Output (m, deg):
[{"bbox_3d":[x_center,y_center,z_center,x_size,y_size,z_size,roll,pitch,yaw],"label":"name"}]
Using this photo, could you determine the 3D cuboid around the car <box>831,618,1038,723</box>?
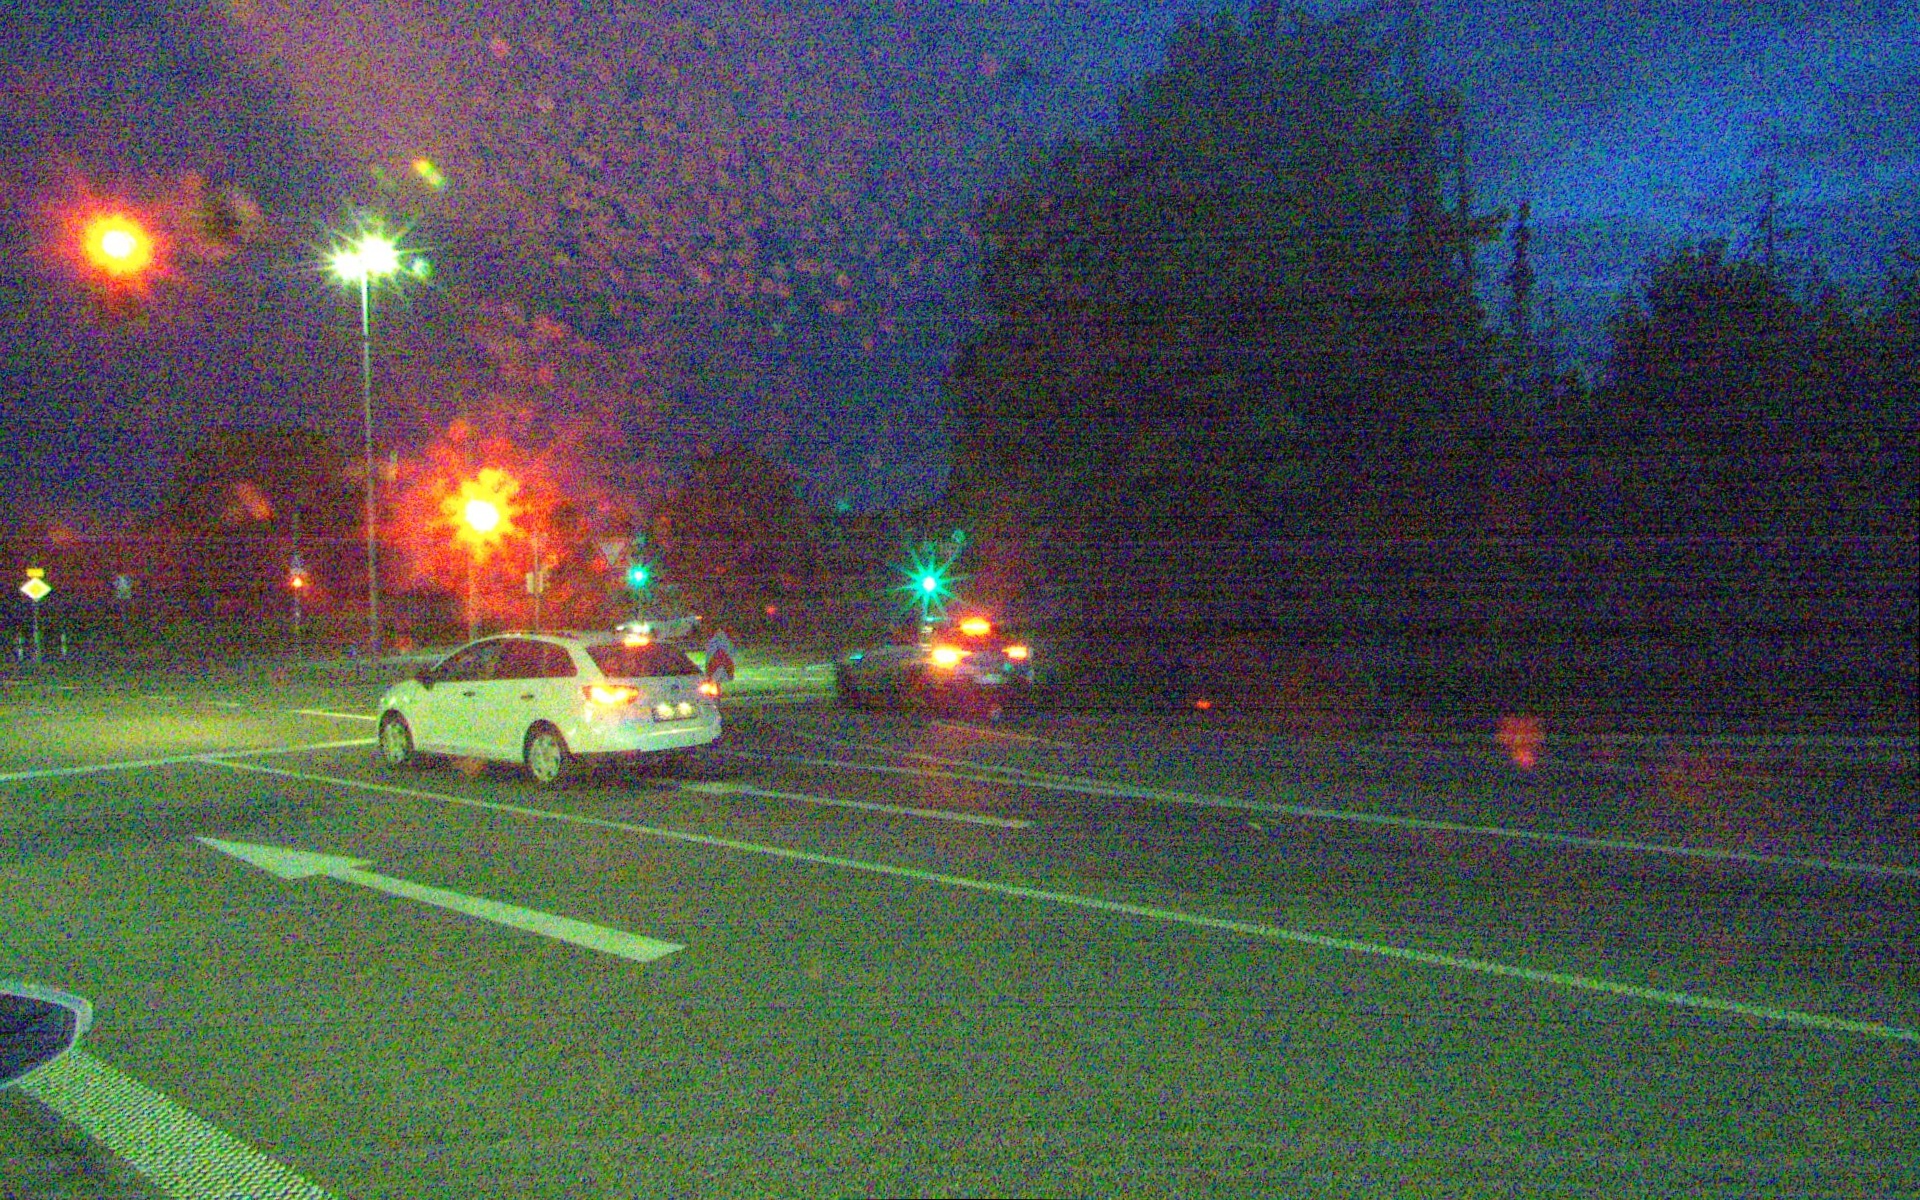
[{"bbox_3d":[-0.567,1.114,17.296,1.718,1.593,4.034,1,-1,-33],"label":"car"}]

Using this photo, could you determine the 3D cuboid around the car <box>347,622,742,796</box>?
[{"bbox_3d":[-4.314,0.971,10.248,4.056,1.462,1.617,-1,0,30],"label":"car"}]
